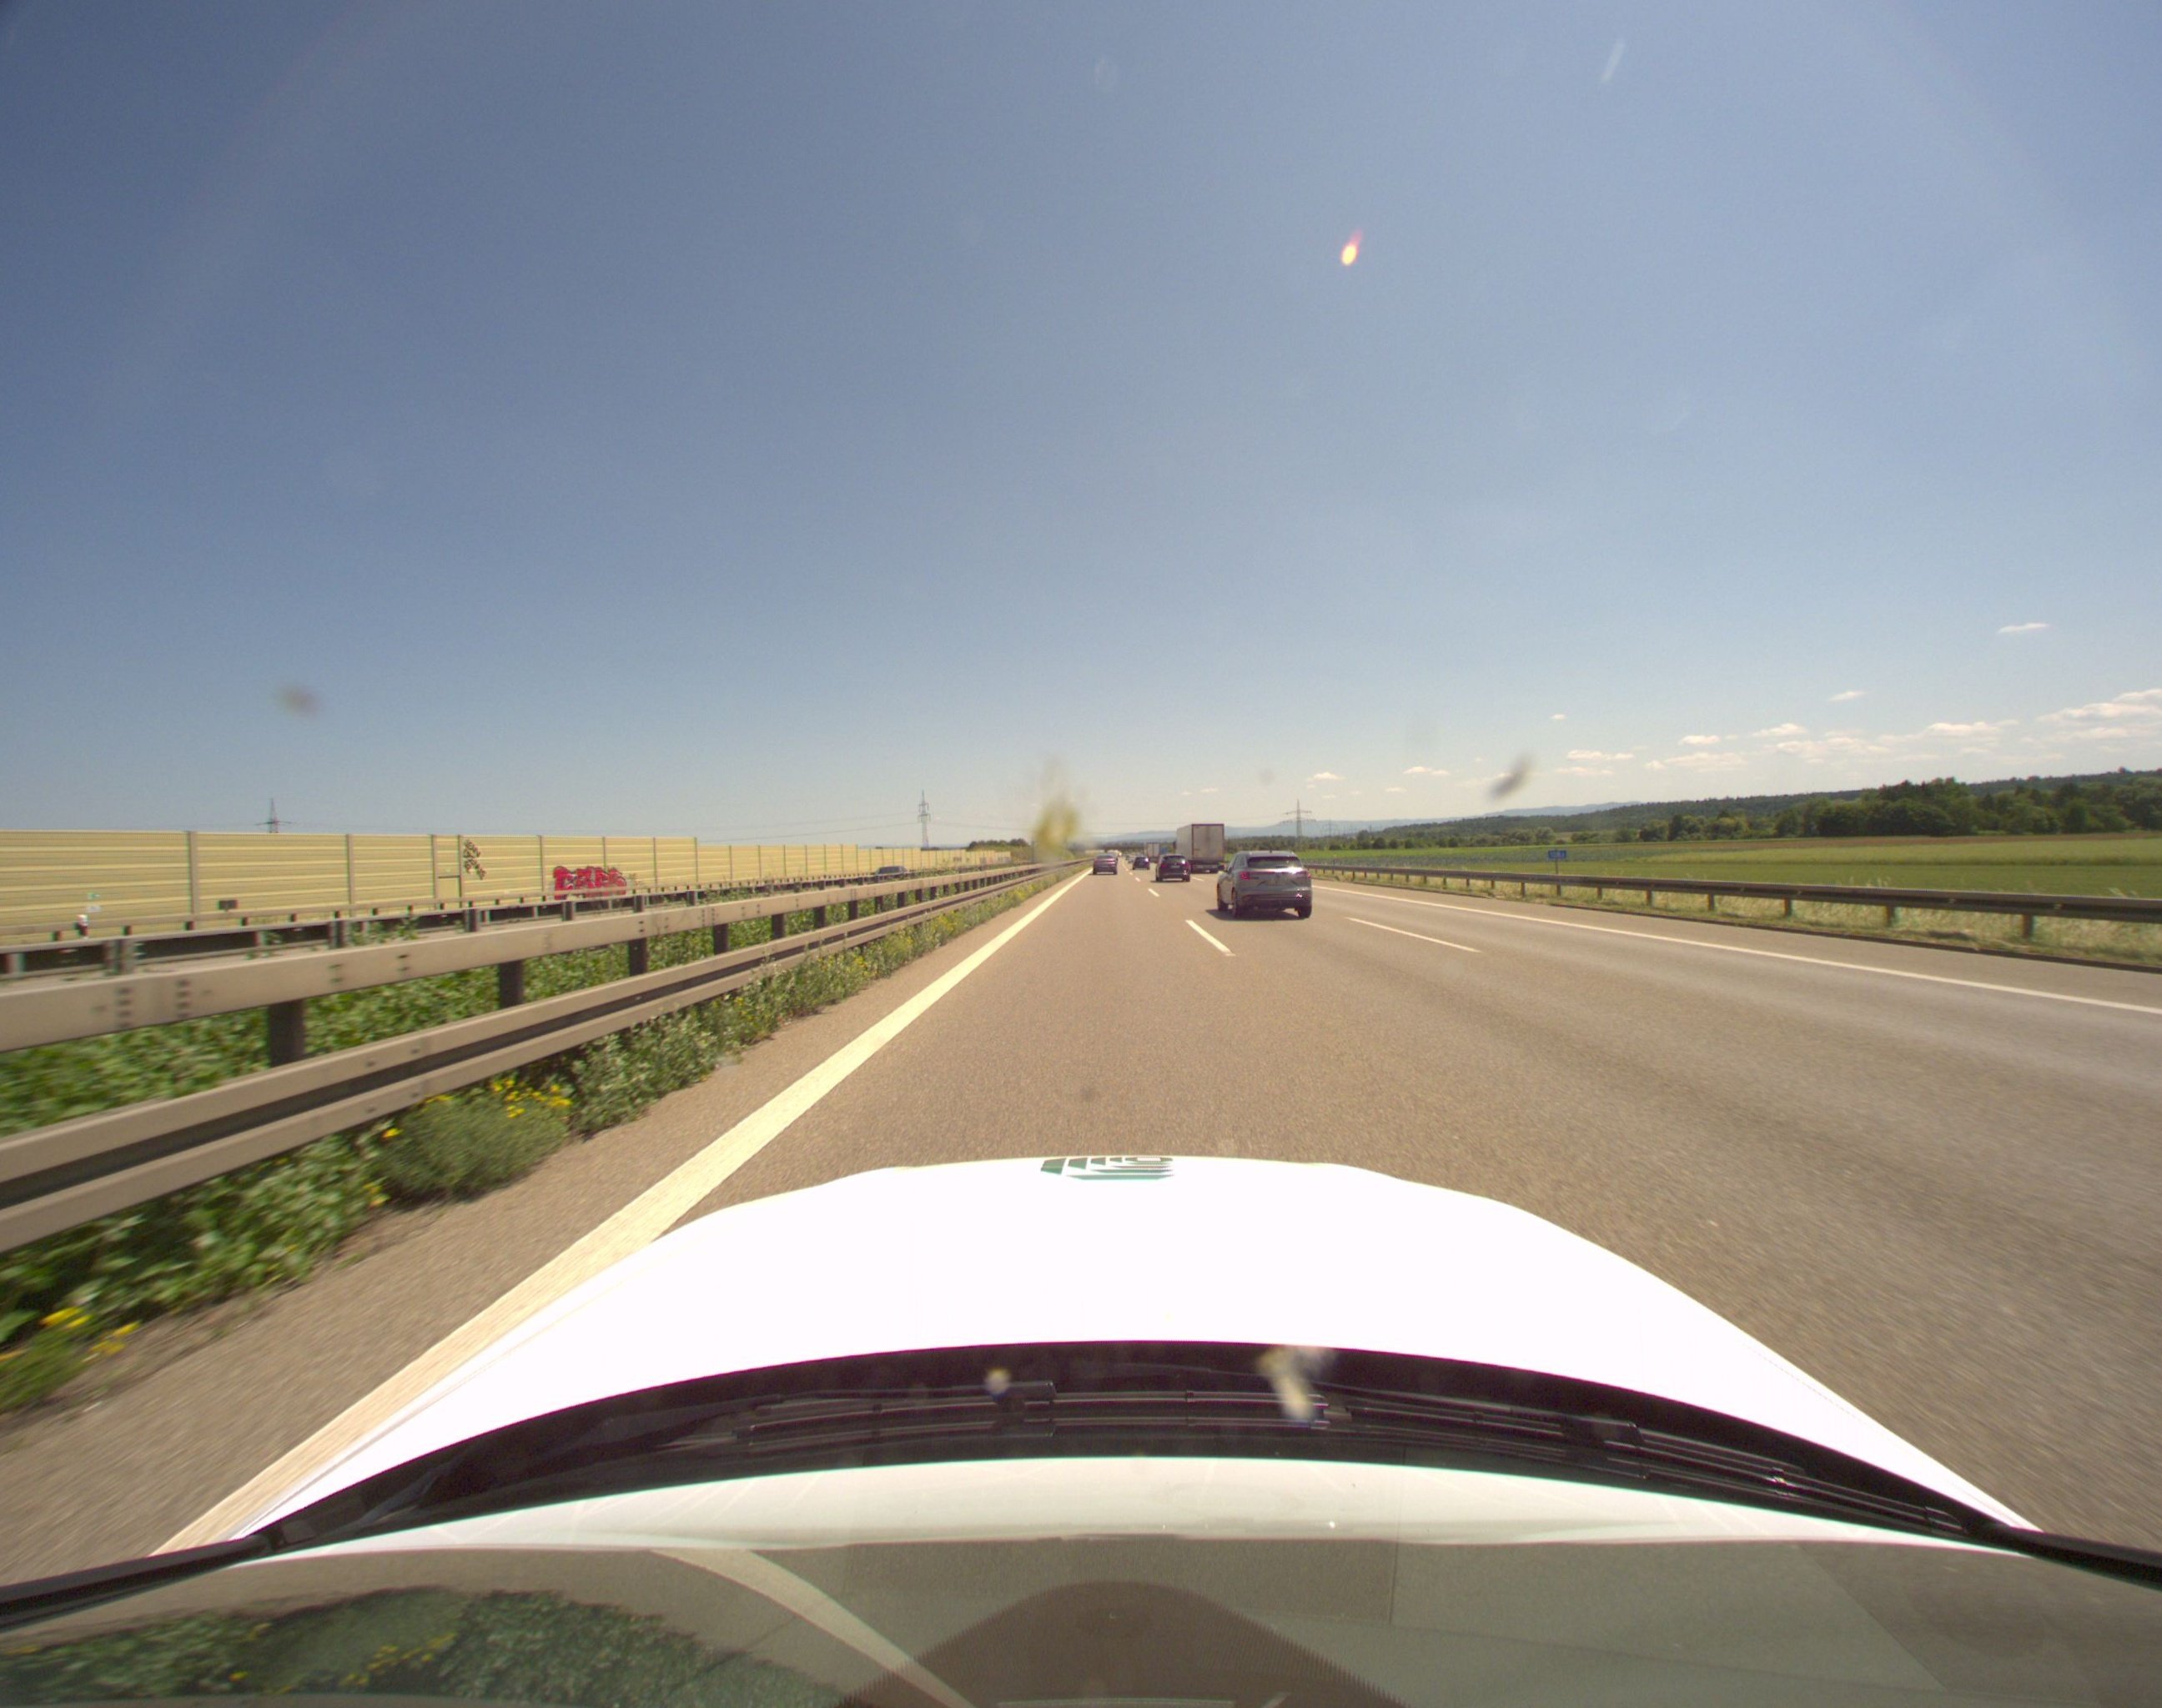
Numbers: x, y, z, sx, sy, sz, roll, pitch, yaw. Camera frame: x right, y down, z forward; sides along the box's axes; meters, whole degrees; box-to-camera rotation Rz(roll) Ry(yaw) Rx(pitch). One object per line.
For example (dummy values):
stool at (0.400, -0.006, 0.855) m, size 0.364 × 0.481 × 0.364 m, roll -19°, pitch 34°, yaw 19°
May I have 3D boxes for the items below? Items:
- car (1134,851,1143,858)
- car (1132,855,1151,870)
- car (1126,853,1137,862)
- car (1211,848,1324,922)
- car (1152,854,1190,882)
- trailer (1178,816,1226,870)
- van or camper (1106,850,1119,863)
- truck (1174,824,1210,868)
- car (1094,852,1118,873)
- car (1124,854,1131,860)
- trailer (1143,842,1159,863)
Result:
car at (13.897, 0.208, 197.534) m, size 1.985 × 1.683 × 4.003 m, roll 0°, pitch -1°, yaw 3°
car at (6.434, 0.875, 87.603) m, size 1.925 × 1.574 × 4.938 m, roll 0°, pitch -1°, yaw 3°
car at (9.360, 0.637, 151.052) m, size 1.985 × 1.683 × 4.003 m, roll 0°, pitch -1°, yaw 3°
car at (4.530, 0.698, 20.491) m, size 1.845 × 1.648 × 4.645 m, roll 0°, pitch 0°, yaw 1°
car at (5.157, 0.795, 46.866) m, size 1.791 × 1.562 × 3.823 m, roll 0°, pitch -1°, yaw 0°
trailer at (10.313, -0.801, 70.779) m, size 2.856 × 4.220 × 13.303 m, roll 0°, pitch -1°, yaw 3°
van or camper at (5.716, 0.502, 147.716) m, size 2.102 × 2.211 × 5.270 m, roll 0°, pitch -1°, yaw 3°
truck at (10.662, -0.738, 78.759) m, size 2.851 × 4.091 × 6.883 m, roll 0°, pitch -1°, yaw 2°
car at (2.002, 0.693, 66.303) m, size 1.845 × 1.664 × 3.734 m, roll 0°, pitch -1°, yaw 0°
car at (13.397, 0.839, 233.919) m, size 1.985 × 1.683 × 4.003 m, roll 0°, pitch -1°, yaw 3°
trailer at (14.188, -0.244, 165.146) m, size 2.930 × 4.198 × 13.608 m, roll 0°, pitch -1°, yaw 3°
